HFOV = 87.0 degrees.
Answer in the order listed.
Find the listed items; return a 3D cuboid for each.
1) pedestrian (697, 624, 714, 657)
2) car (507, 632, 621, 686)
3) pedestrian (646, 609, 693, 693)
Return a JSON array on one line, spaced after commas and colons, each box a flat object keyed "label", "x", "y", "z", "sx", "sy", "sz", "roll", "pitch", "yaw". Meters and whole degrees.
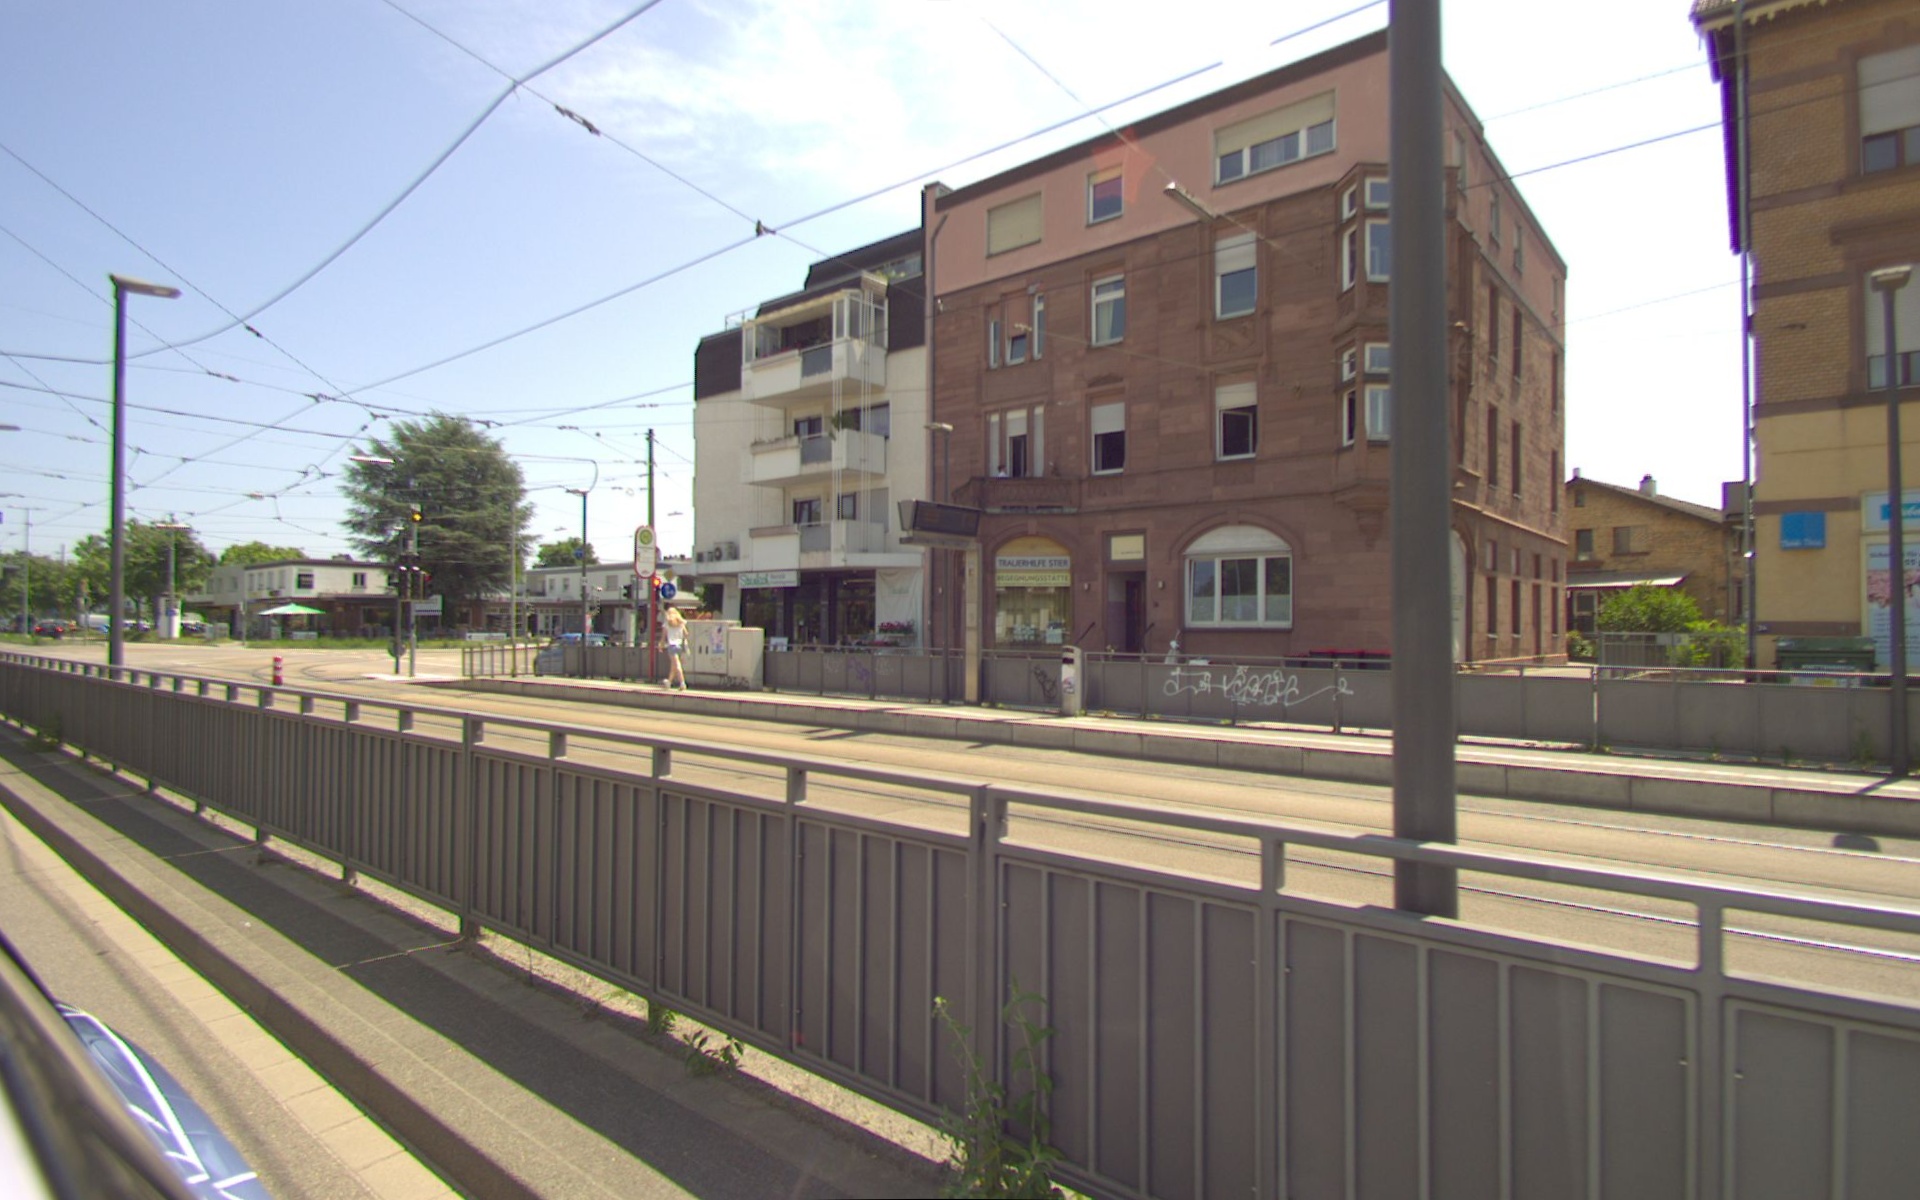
[{"label": "pedestrian", "x": -13.559, "y": 2.162, "z": 53.987, "sx": 0.646, "sy": 1.728, "sz": 0.570, "roll": -1, "pitch": -4, "yaw": 41}, {"label": "car", "x": -12.378, "y": 1.782, "z": 31.532, "sx": 3.998, "sy": 1.497, "sz": 1.674, "roll": -1, "pitch": -1, "yaw": 41}, {"label": "pedestrian", "x": -5.791, "y": 1.004, "z": 20.176, "sx": 0.676, "sy": 1.637, "sz": 0.590, "roll": -1, "pitch": -4, "yaw": 41}]
